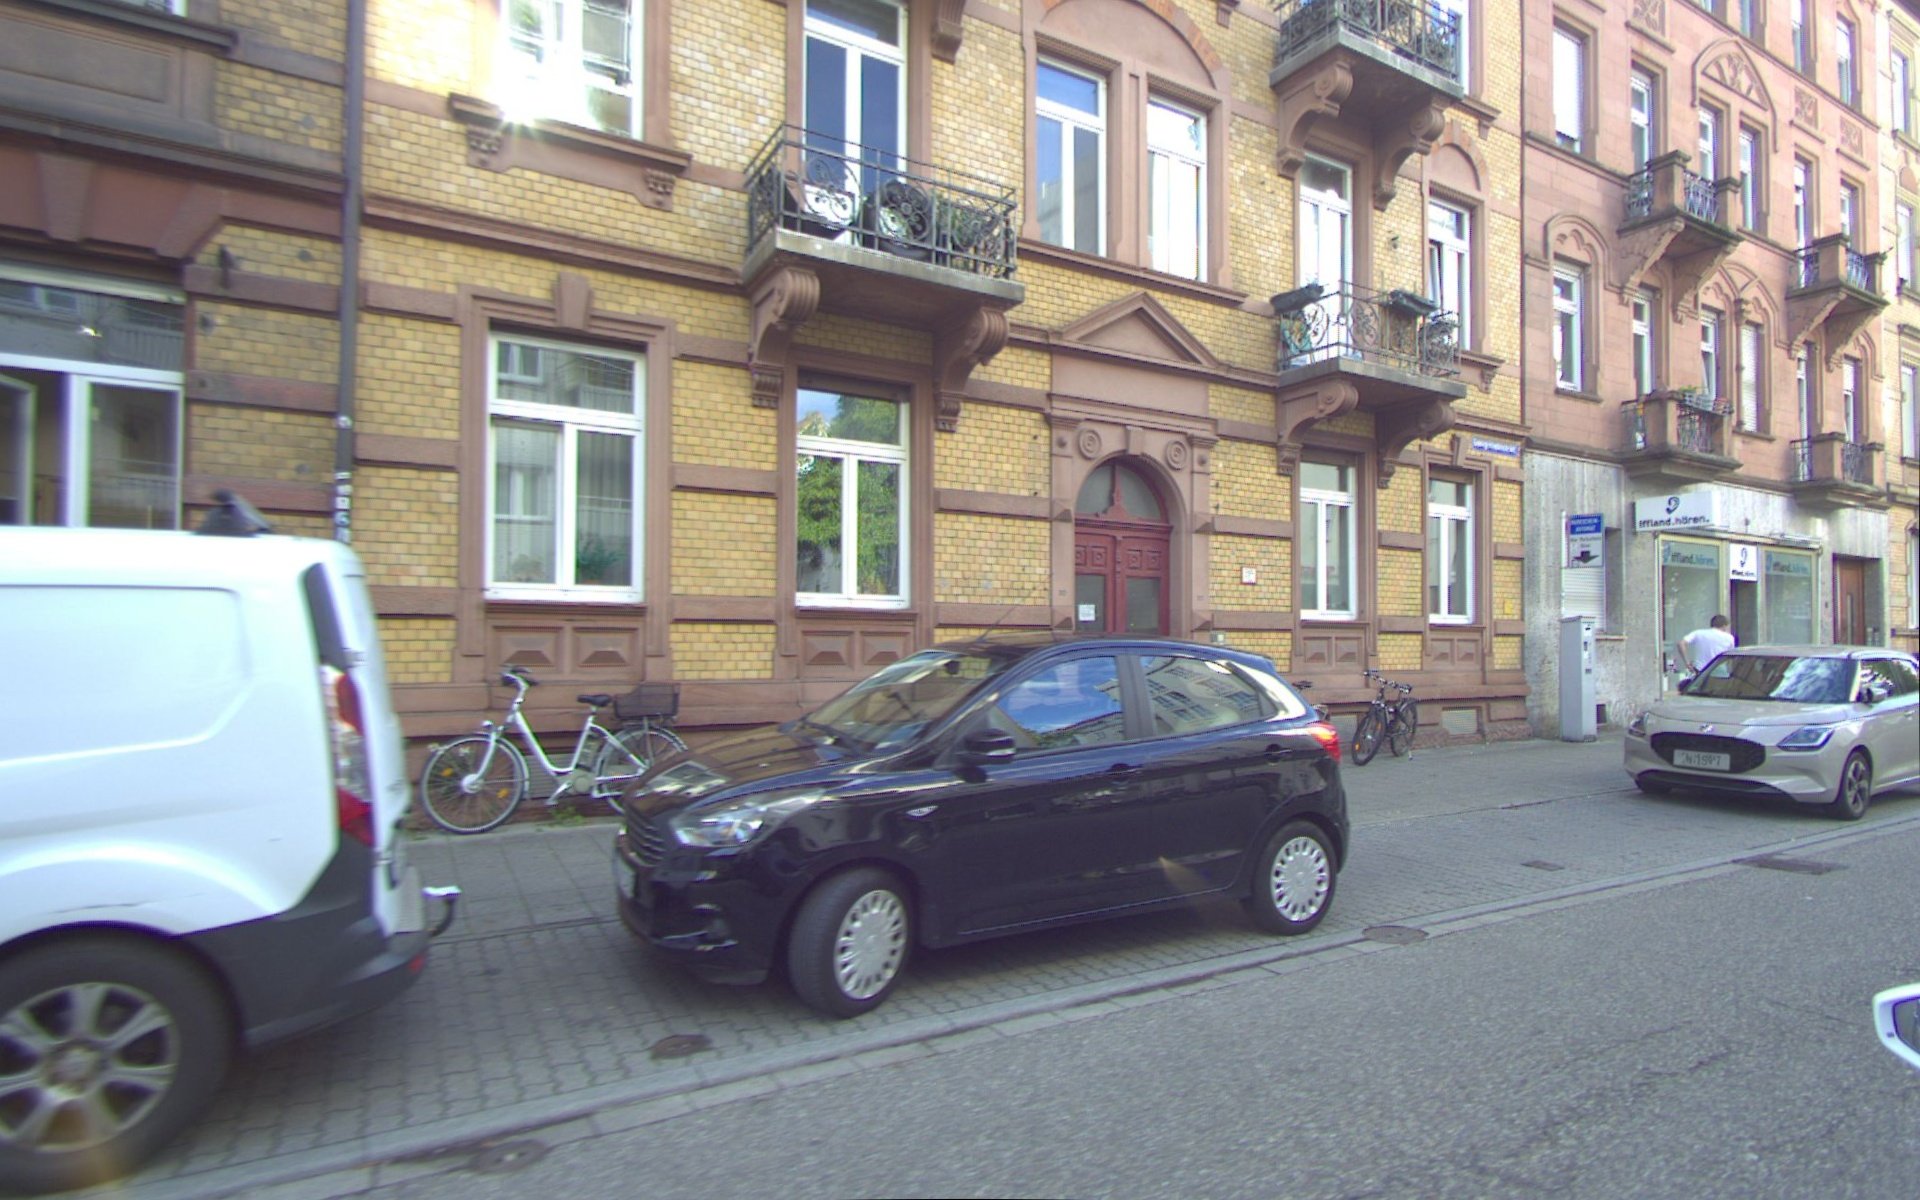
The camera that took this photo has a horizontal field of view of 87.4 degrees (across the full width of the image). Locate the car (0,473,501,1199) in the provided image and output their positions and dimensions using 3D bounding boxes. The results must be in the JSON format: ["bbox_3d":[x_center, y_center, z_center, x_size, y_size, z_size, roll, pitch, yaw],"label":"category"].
[{"bbox_3d":[-3.814,0.625,2.863,4.386,1.896,1.910,1,-1,-31],"label":"car"}]

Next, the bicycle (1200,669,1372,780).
[{"bbox_3d":[3.622,1.335,11.132,1.750,1.051,0.850,1,0,-29],"label":"bicycle"}]

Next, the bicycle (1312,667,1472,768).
[{"bbox_3d":[5.182,1.364,12.034,1.750,1.051,0.894,1,-1,-29],"label":"bicycle"}]

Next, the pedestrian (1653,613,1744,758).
[{"bbox_3d":[9.815,1.103,13.351,0.765,1.814,0.725,1,2,-37],"label":"pedestrian"}]

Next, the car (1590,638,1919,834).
[{"bbox_3d":[8.188,1.166,9.898,3.936,1.503,1.733,1,-1,-30],"label":"car"}]

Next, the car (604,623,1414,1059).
[{"bbox_3d":[0.355,0.929,5.271,3.936,1.503,1.733,2,-1,-30],"label":"car"}]

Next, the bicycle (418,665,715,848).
[{"bbox_3d":[-2.886,1.093,7.458,1.978,1.166,0.565,1,0,-31],"label":"bicycle"}]

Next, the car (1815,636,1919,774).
[{"bbox_3d":[12.431,1.223,12.338,3.936,1.503,1.733,1,-1,-30],"label":"car"}]
